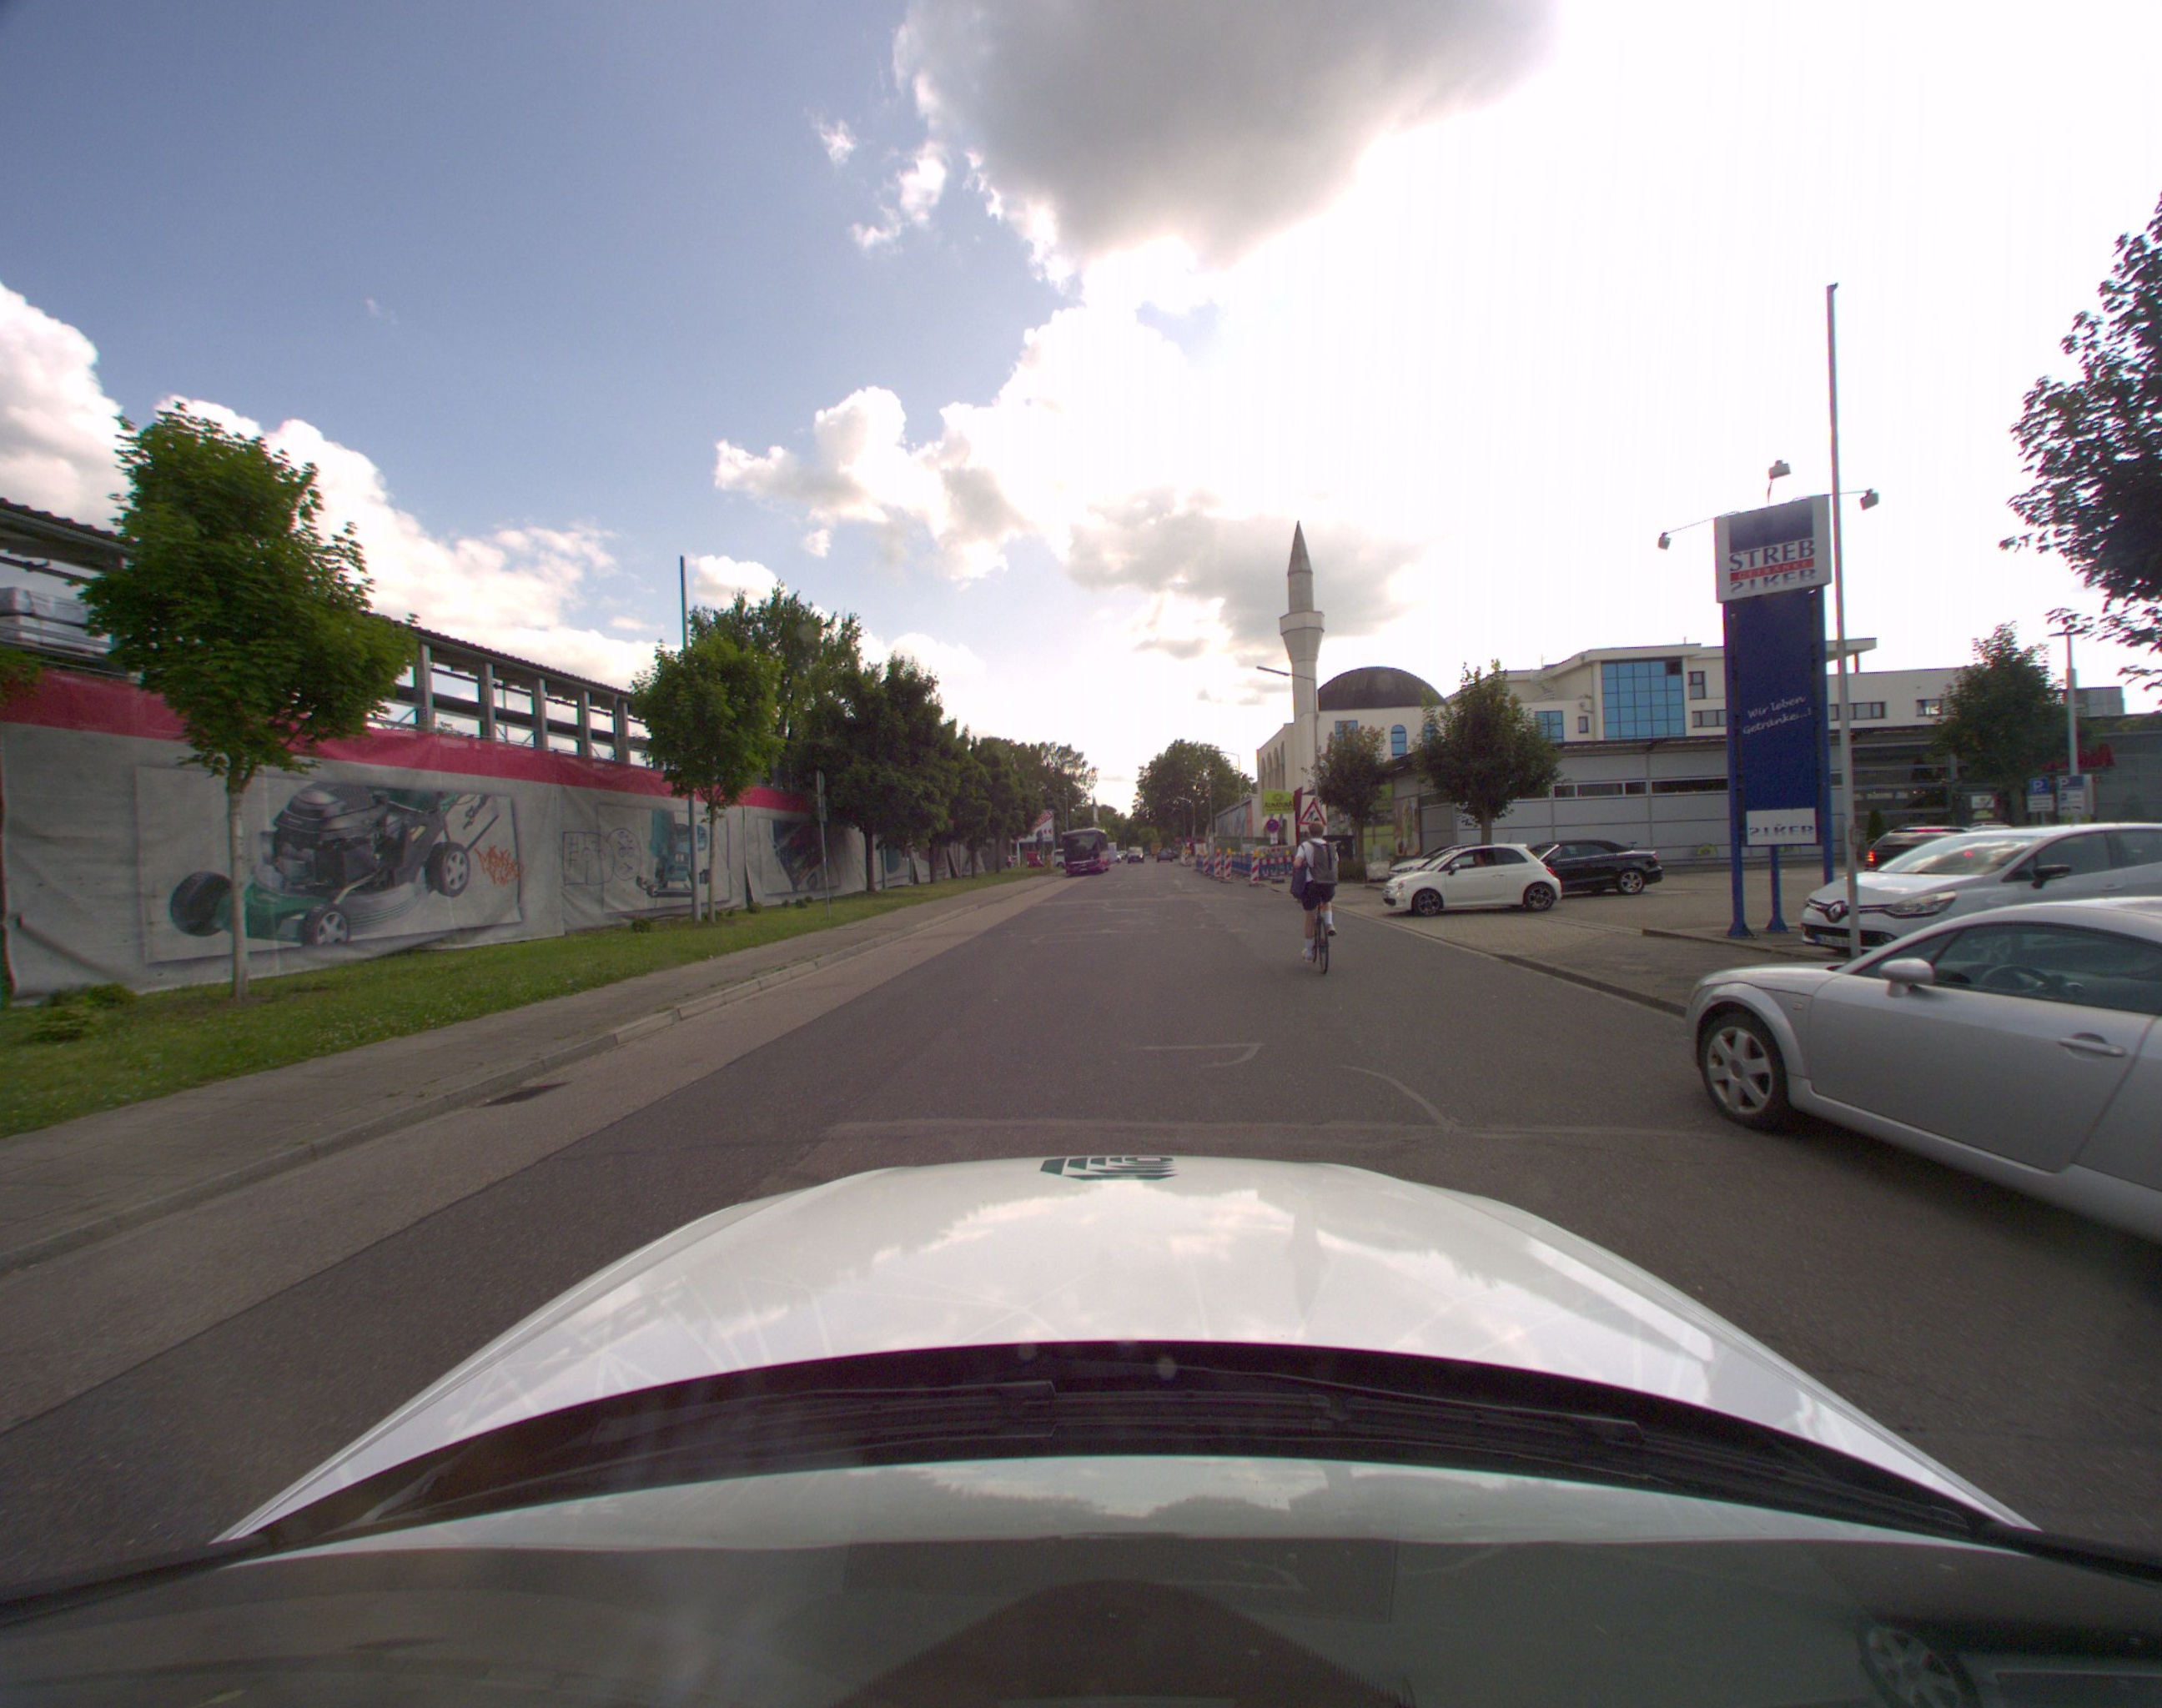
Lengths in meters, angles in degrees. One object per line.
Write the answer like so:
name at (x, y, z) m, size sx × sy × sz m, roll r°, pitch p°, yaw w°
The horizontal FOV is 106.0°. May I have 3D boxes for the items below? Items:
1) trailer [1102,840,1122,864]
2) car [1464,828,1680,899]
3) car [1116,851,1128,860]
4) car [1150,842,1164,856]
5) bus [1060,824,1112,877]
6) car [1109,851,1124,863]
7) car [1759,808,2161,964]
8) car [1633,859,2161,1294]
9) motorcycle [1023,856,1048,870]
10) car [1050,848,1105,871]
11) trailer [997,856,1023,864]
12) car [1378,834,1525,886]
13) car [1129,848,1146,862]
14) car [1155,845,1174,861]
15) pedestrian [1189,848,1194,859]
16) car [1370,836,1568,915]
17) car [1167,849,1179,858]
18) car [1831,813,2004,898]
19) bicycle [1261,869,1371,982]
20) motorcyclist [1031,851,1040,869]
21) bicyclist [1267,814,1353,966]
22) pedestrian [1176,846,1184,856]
trailer at (3.890, -0.294, 102.500) m, size 2.130 × 2.783 × 4.709 m, roll -4°, pitch 0°, yaw 4°
car at (11.989, 0.225, 20.093) m, size 4.165 × 1.430 × 1.807 m, roll -4°, pitch 0°, yaw 1°
car at (6.968, 0.222, 138.008) m, size 1.701 × 1.420 × 4.339 m, roll -5°, pitch 0°, yaw 6°
car at (14.905, -0.929, 159.343) m, size 2.191 × 2.578 × 6.407 m, roll -2°, pitch 0°, yaw 1°
bus at (0.587, -0.280, 62.710) m, size 2.651 × 3.422 × 13.236 m, roll -6°, pitch 0°, yaw 5°
car at (4.954, 0.334, 113.204) m, size 1.758 × 1.479 × 4.240 m, roll -5°, pitch 0°, yaw 4°
car at (10.637, 0.312, 9.467) m, size 3.938 × 1.411 × 1.797 m, roll -4°, pitch 0°, yaw 1°
car at (4.342, 0.741, 3.352) m, size 1.654 × 1.340 × 3.990 m, roll 1°, pitch 1°, yaw 4°
motorcycle at (-4.474, 0.883, 79.718) m, size 2.210 × 1.213 × 0.996 m, roll -3°, pitch 0°, yaw 5°
car at (-0.314, 0.537, 79.028) m, size 4.969 × 1.949 × 1.998 m, roll -2°, pitch 0°, yaw 10°
trailer at (-11.483, 1.002, 131.623) m, size 3.793 × 1.190 × 1.720 m, roll -2°, pitch 1°, yaw 10°
car at (12.576, 0.179, 27.877) m, size 4.088 × 1.463 × 1.991 m, roll -4°, pitch 0°, yaw 1°
car at (6.623, 0.101, 95.831) m, size 1.860 × 1.630 × 4.132 m, roll -3°, pitch 0°, yaw 4°
car at (10.096, -0.120, 98.535) m, size 1.954 × 1.815 × 4.279 m, roll -2°, pitch 0°, yaw 3°
pedestrian at (15.088, -0.080, 111.183) m, size 0.678 × 1.534 × 1.132 m, roll -2°, pitch 0°, yaw 5°
car at (8.489, 0.467, 18.102) m, size 3.580 × 1.470 × 1.693 m, roll -4°, pitch 0°, yaw 8°
car at (14.450, -0.096, 127.495) m, size 1.799 × 1.391 × 4.596 m, roll 0°, pitch 0°, yaw 6°
car at (16.505, -0.008, 16.009) m, size 4.407 × 1.411 × 1.668 m, roll -3°, pitch -1°, yaw -35°
bicycle at (2.863, 0.808, 10.254) m, size 0.794 × 1.180 × 2.630 m, roll -1°, pitch 0°, yaw 4°
motorcyclist at (-4.479, 0.628, 79.727) m, size 0.671 × 1.723 × 0.996 m, roll -3°, pitch 0°, yaw 5°
bicyclist at (2.855, 0.427, 10.275) m, size 0.803 × 1.792 × 1.208 m, roll 0°, pitch 0°, yaw 4°
pedestrian at (18.705, -0.570, 153.533) m, size 1.002 × 1.849 × 1.224 m, roll -2°, pitch 0°, yaw -13°
